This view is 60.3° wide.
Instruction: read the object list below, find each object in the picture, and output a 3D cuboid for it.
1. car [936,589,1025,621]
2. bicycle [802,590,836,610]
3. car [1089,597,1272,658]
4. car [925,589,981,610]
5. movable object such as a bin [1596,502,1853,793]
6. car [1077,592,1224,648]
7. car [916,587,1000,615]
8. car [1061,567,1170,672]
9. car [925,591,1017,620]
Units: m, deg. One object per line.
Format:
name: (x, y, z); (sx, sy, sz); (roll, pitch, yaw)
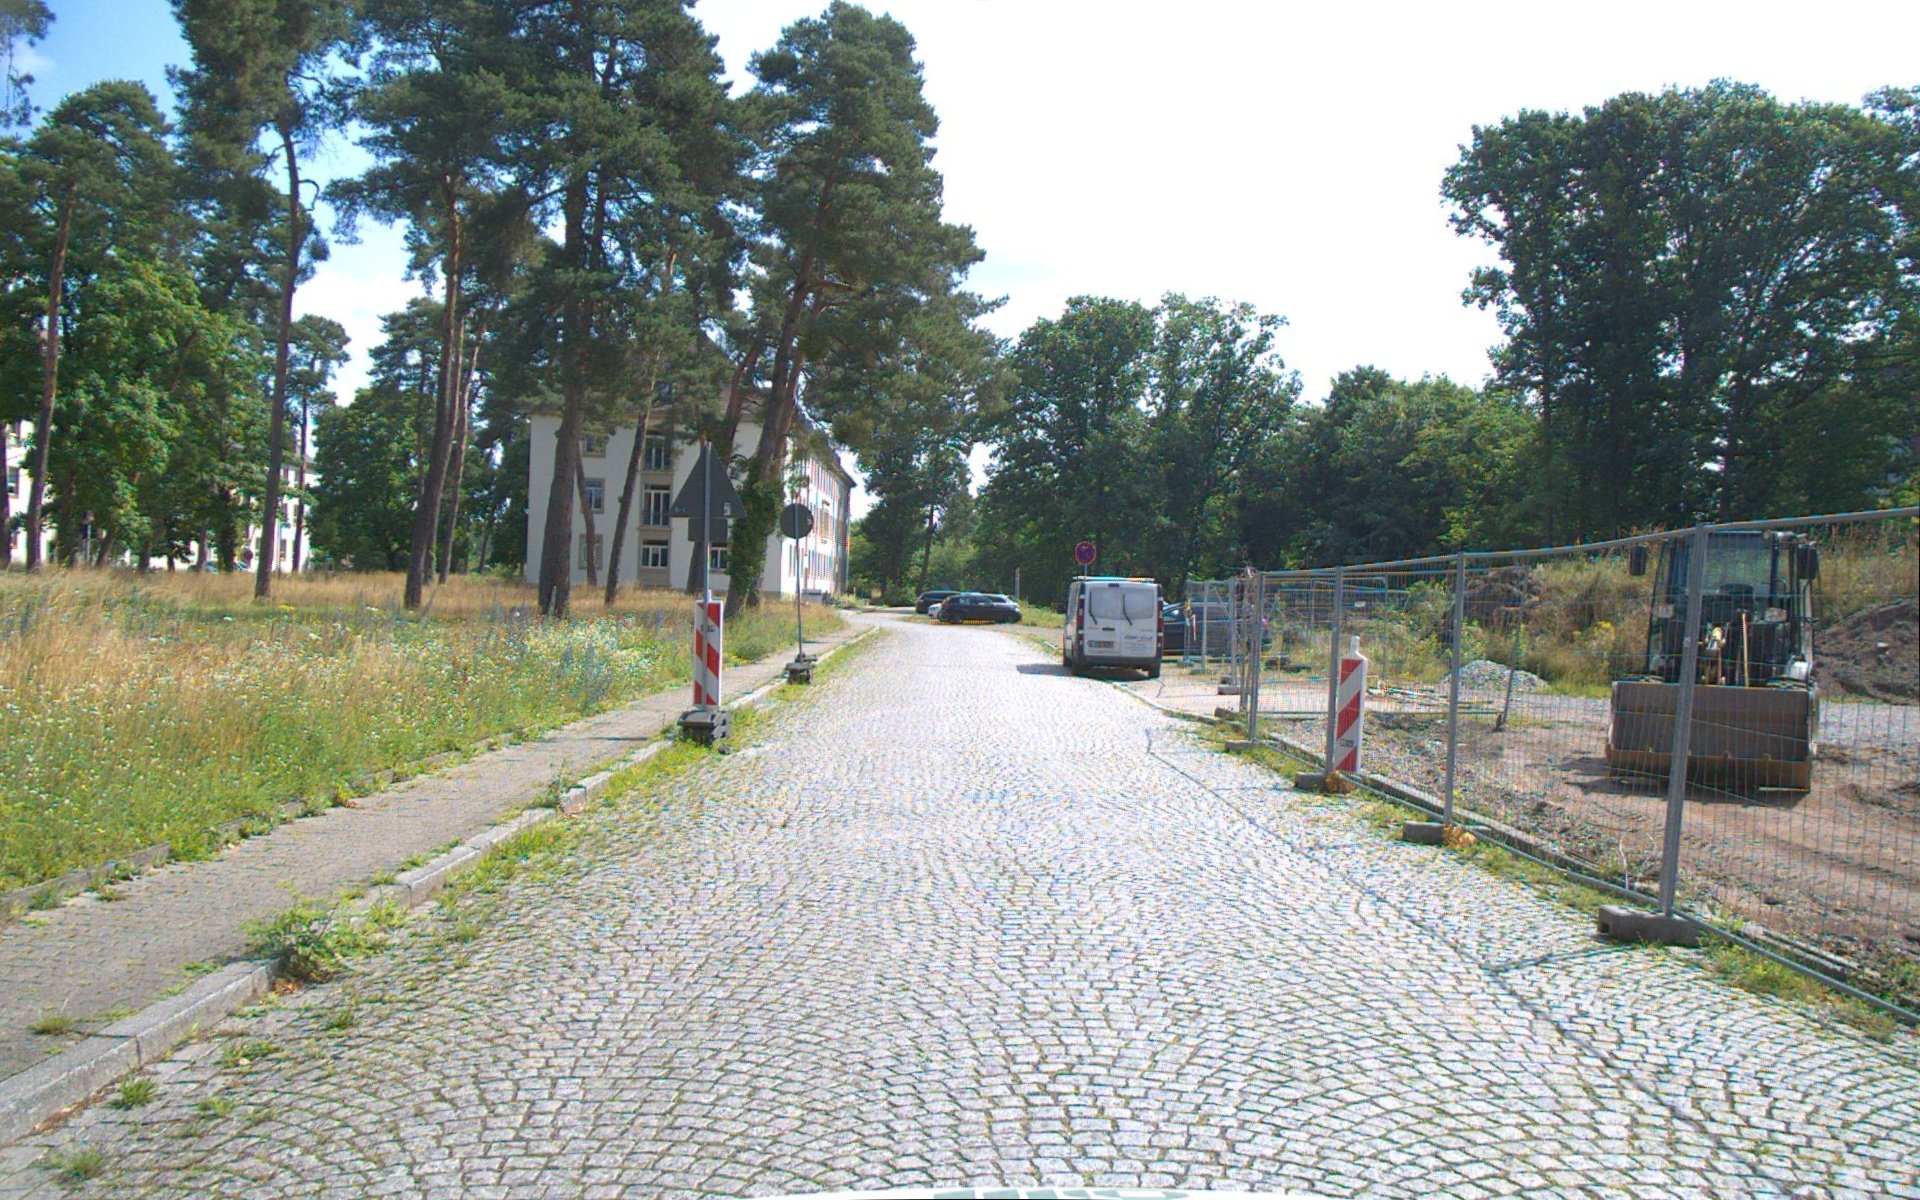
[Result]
car: (1.011, 0.240, 83.525); (4.244, 1.526, 1.826); (0, 1, -9)
bicycle: (-9.474, -0.023, 111.021); (2.176, 1.282, 0.623); (1, 0, 1)
car: (5.589, 0.673, 42.192); (4.366, 1.501, 1.744); (0, 0, -5)
car: (-0.507, -0.050, 122.130); (4.100, 1.570, 1.820); (0, 0, 1)
movable object such as a bin: (8.231, 0.369, 17.587); (2.101, 2.565, 5.649); (1, 1, 28)
car: (5.368, 0.545, 46.885); (3.907, 1.533, 1.745); (0, 0, -3)
car: (-0.135, 0.039, 94.007); (4.755, 1.580, 1.879); (0, 0, -2)
car: (3.314, 0.384, 36.265); (1.874, 2.089, 5.679); (1, 0, 1)
car: (0.560, 0.270, 86.662); (4.764, 1.498, 1.874); (0, 1, -2)
